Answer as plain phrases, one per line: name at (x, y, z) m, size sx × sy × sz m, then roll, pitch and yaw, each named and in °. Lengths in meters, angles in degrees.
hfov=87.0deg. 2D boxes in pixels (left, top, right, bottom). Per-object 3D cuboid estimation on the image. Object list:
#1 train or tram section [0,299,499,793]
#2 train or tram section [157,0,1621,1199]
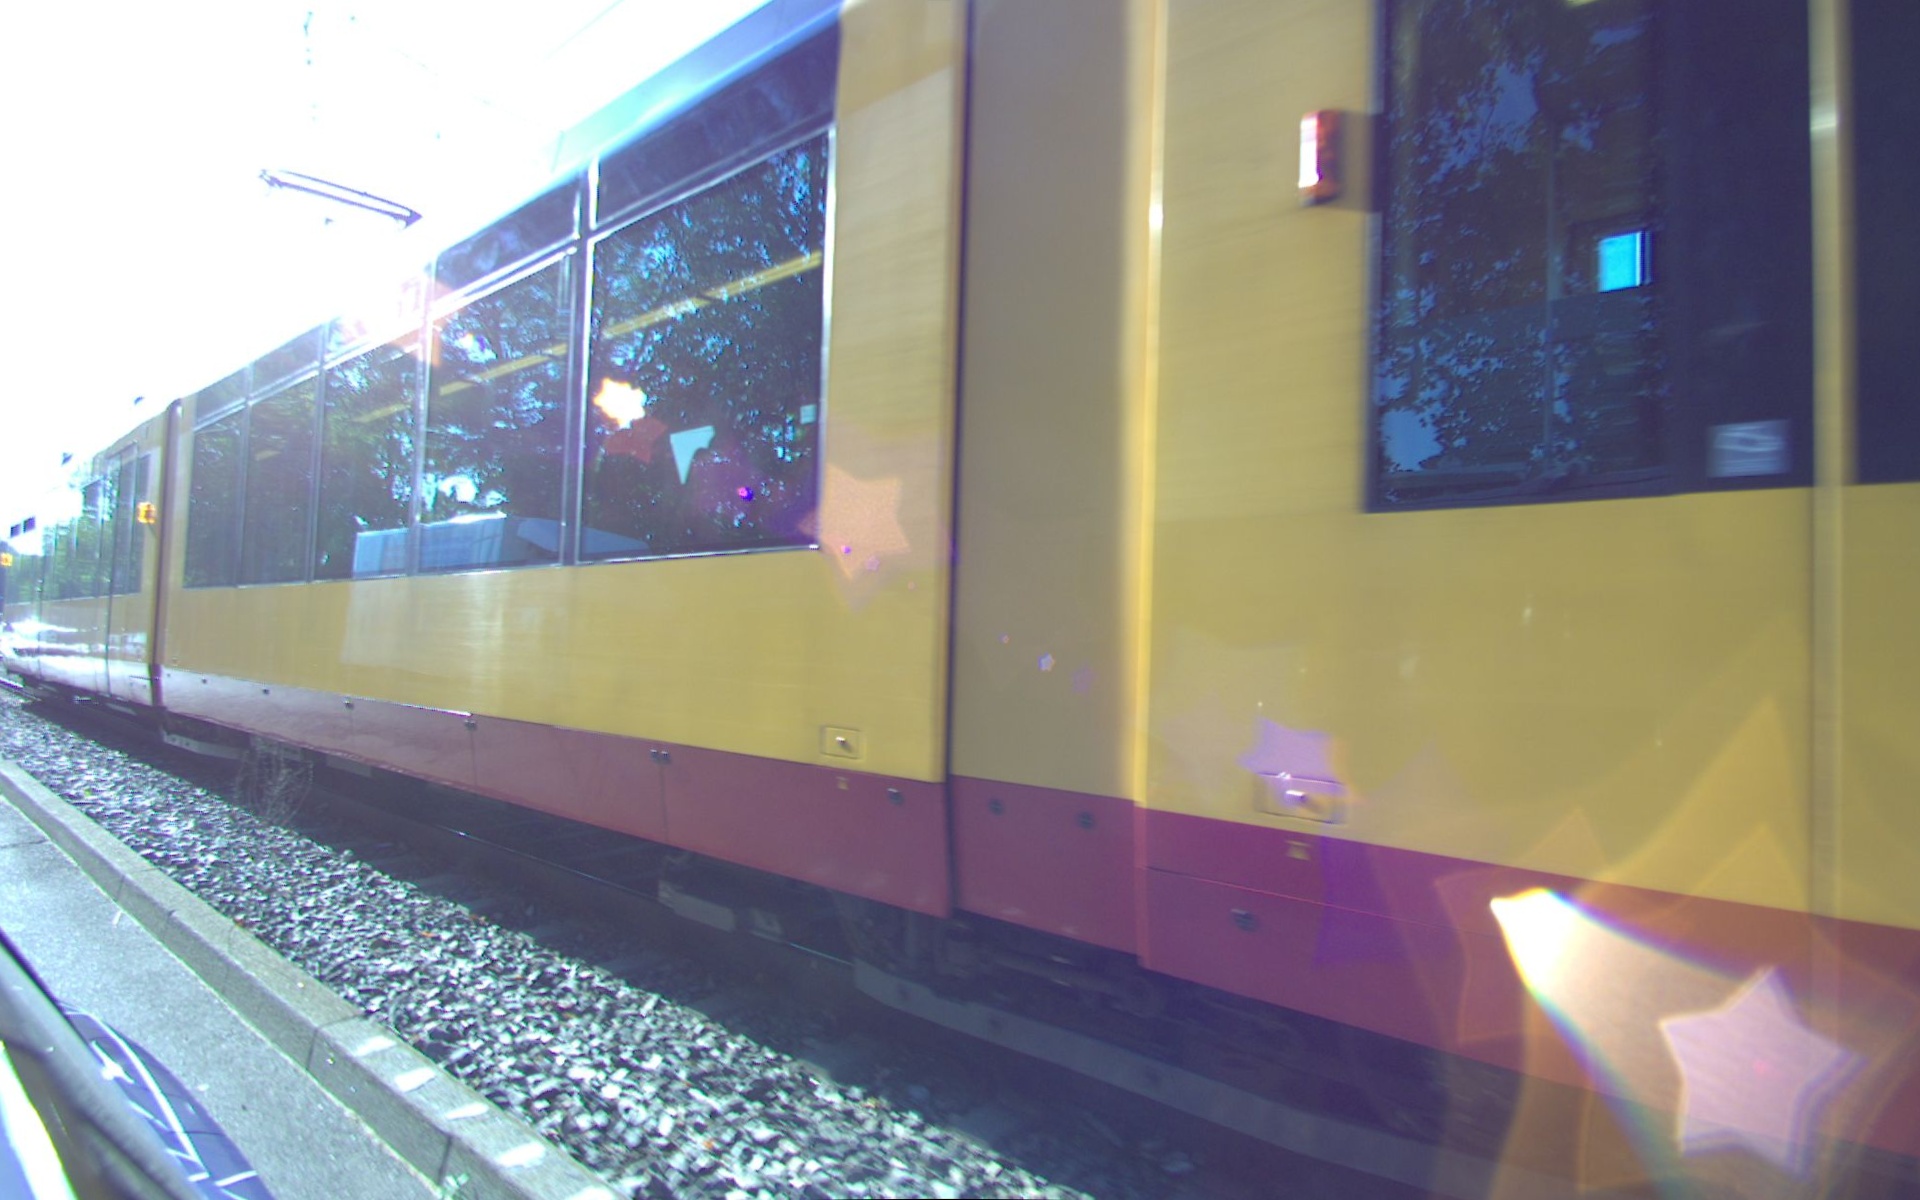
train or tram section at (-10.835, -0.314, 13.894) m, size 13.607 × 4.122 × 2.693 m, roll -1°, pitch -3°, yaw 41°
train or tram section at (-2.043, -0.507, 6.196) m, size 9.905 × 4.120 × 2.666 m, roll -1°, pitch -3°, yaw 41°
